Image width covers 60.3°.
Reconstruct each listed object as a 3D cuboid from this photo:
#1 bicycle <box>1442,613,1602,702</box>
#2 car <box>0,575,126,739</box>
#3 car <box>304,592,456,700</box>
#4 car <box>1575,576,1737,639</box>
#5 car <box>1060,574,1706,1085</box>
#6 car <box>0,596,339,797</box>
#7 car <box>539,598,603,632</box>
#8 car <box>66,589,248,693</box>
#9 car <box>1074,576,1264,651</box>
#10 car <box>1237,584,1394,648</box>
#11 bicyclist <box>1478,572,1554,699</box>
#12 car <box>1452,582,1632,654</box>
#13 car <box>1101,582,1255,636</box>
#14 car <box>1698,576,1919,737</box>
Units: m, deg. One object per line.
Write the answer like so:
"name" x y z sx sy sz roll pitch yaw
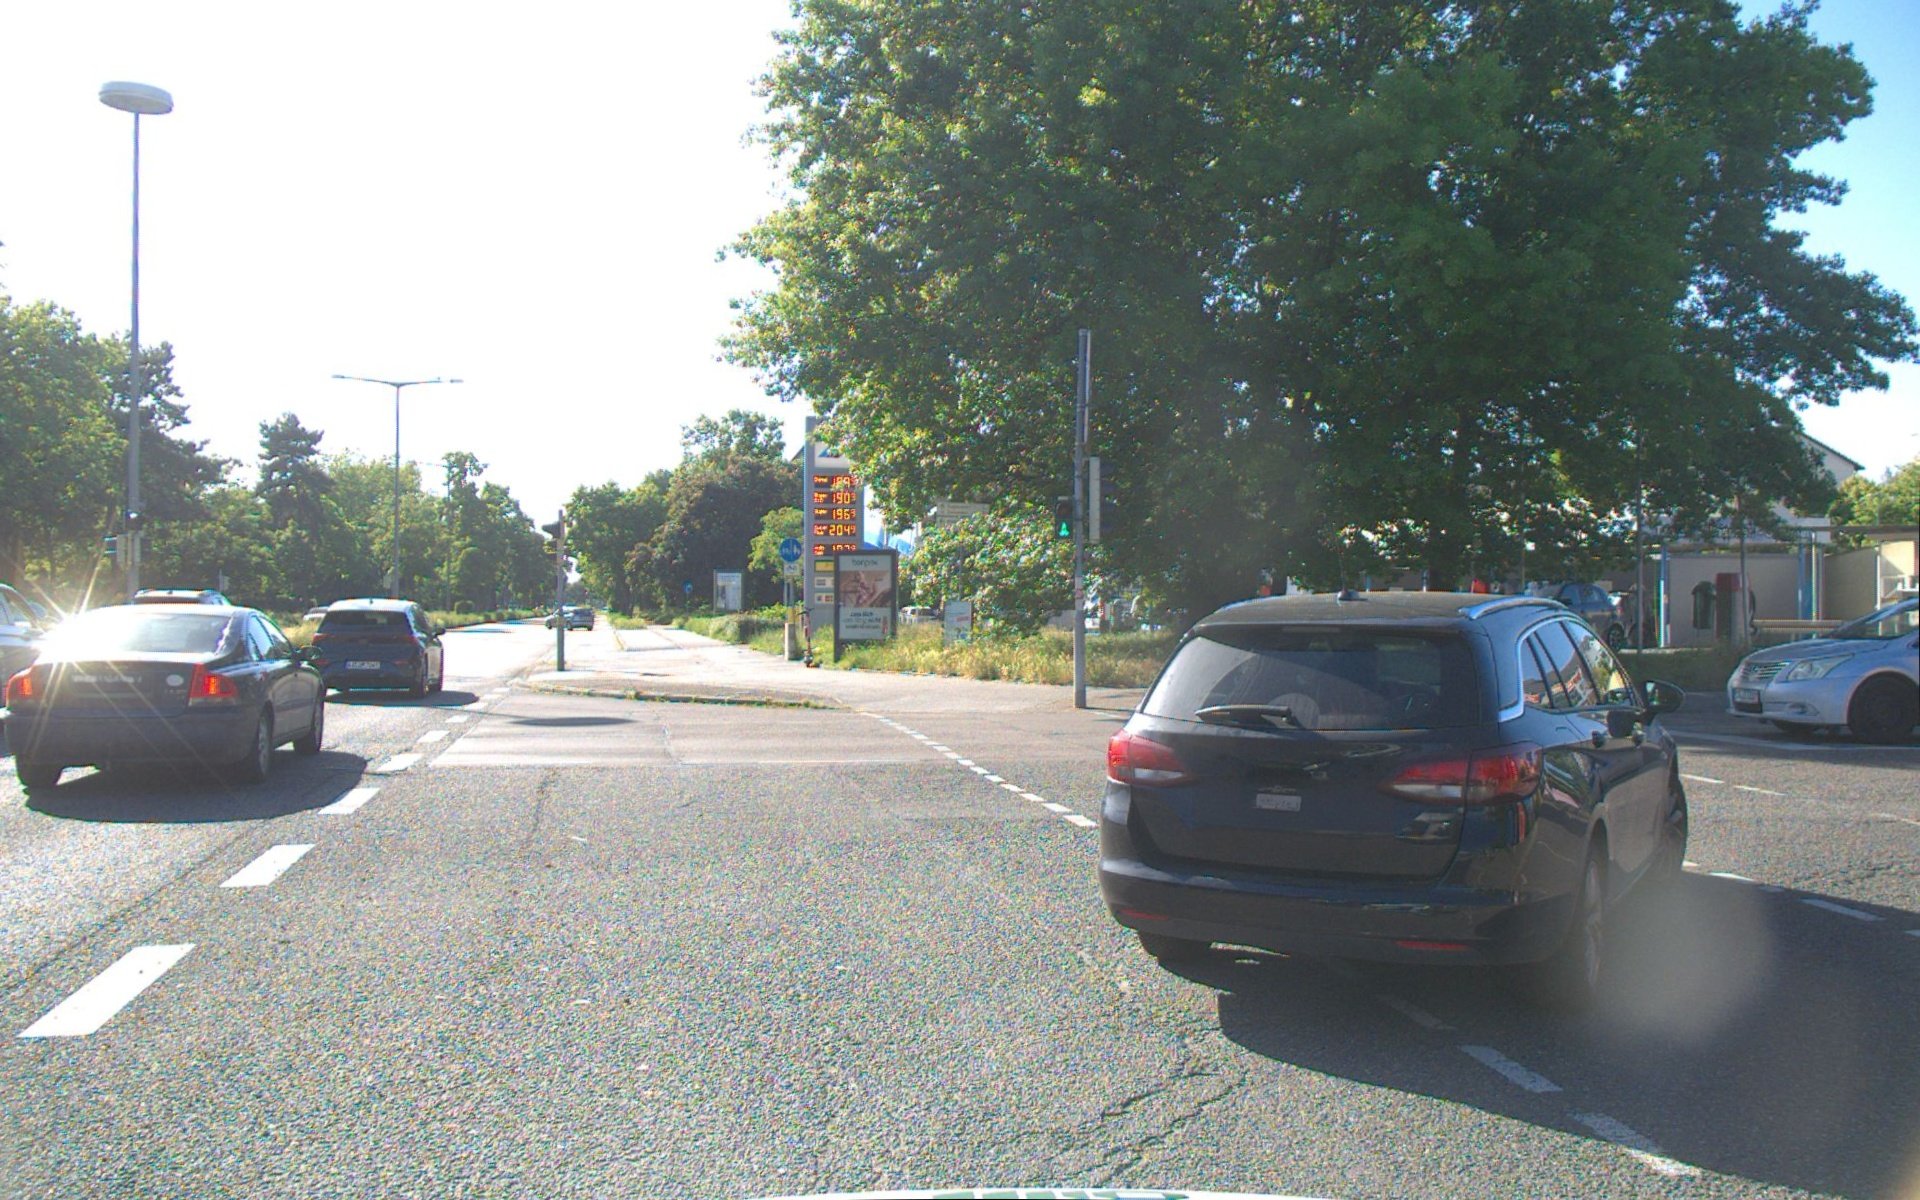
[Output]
"bicycle" 7.492 0.756 22.080 1.980 1.161 0.528 0 -1 -6
"car" -11.020 0.573 18.286 1.907 1.682 4.355 2 -1 -9
"car" -9.444 0.728 27.241 1.804 1.616 4.351 1 -1 -12
"car" 20.159 0.228 47.957 3.919 1.635 1.993 2 -1 -14
"car" 2.139 0.673 7.252 1.728 1.517 4.284 1 1 29
"car" -6.611 0.737 14.162 1.805 1.419 4.350 2 -1 -13
"car" -25.295 0.981 107.457 3.922 2.049 1.991 1 -1 37
"car" -14.256 0.713 29.623 1.877 1.682 4.351 2 -1 -12
"car" 6.559 0.444 52.017 5.538 2.136 1.993 2 -1 -14
"car" 9.551 0.439 44.423 3.932 1.538 1.521 2 -1 -23
"bicyclist" 7.413 0.465 22.064 0.811 1.670 0.542 0 -1 -7
"car" 12.583 0.404 35.695 3.955 1.400 1.737 3 -1 -36
"car" 6.144 0.266 46.606 3.934 1.358 1.786 2 -1 -24
"car" 10.179 0.548 16.536 4.774 1.515 1.842 0 -1 -1
